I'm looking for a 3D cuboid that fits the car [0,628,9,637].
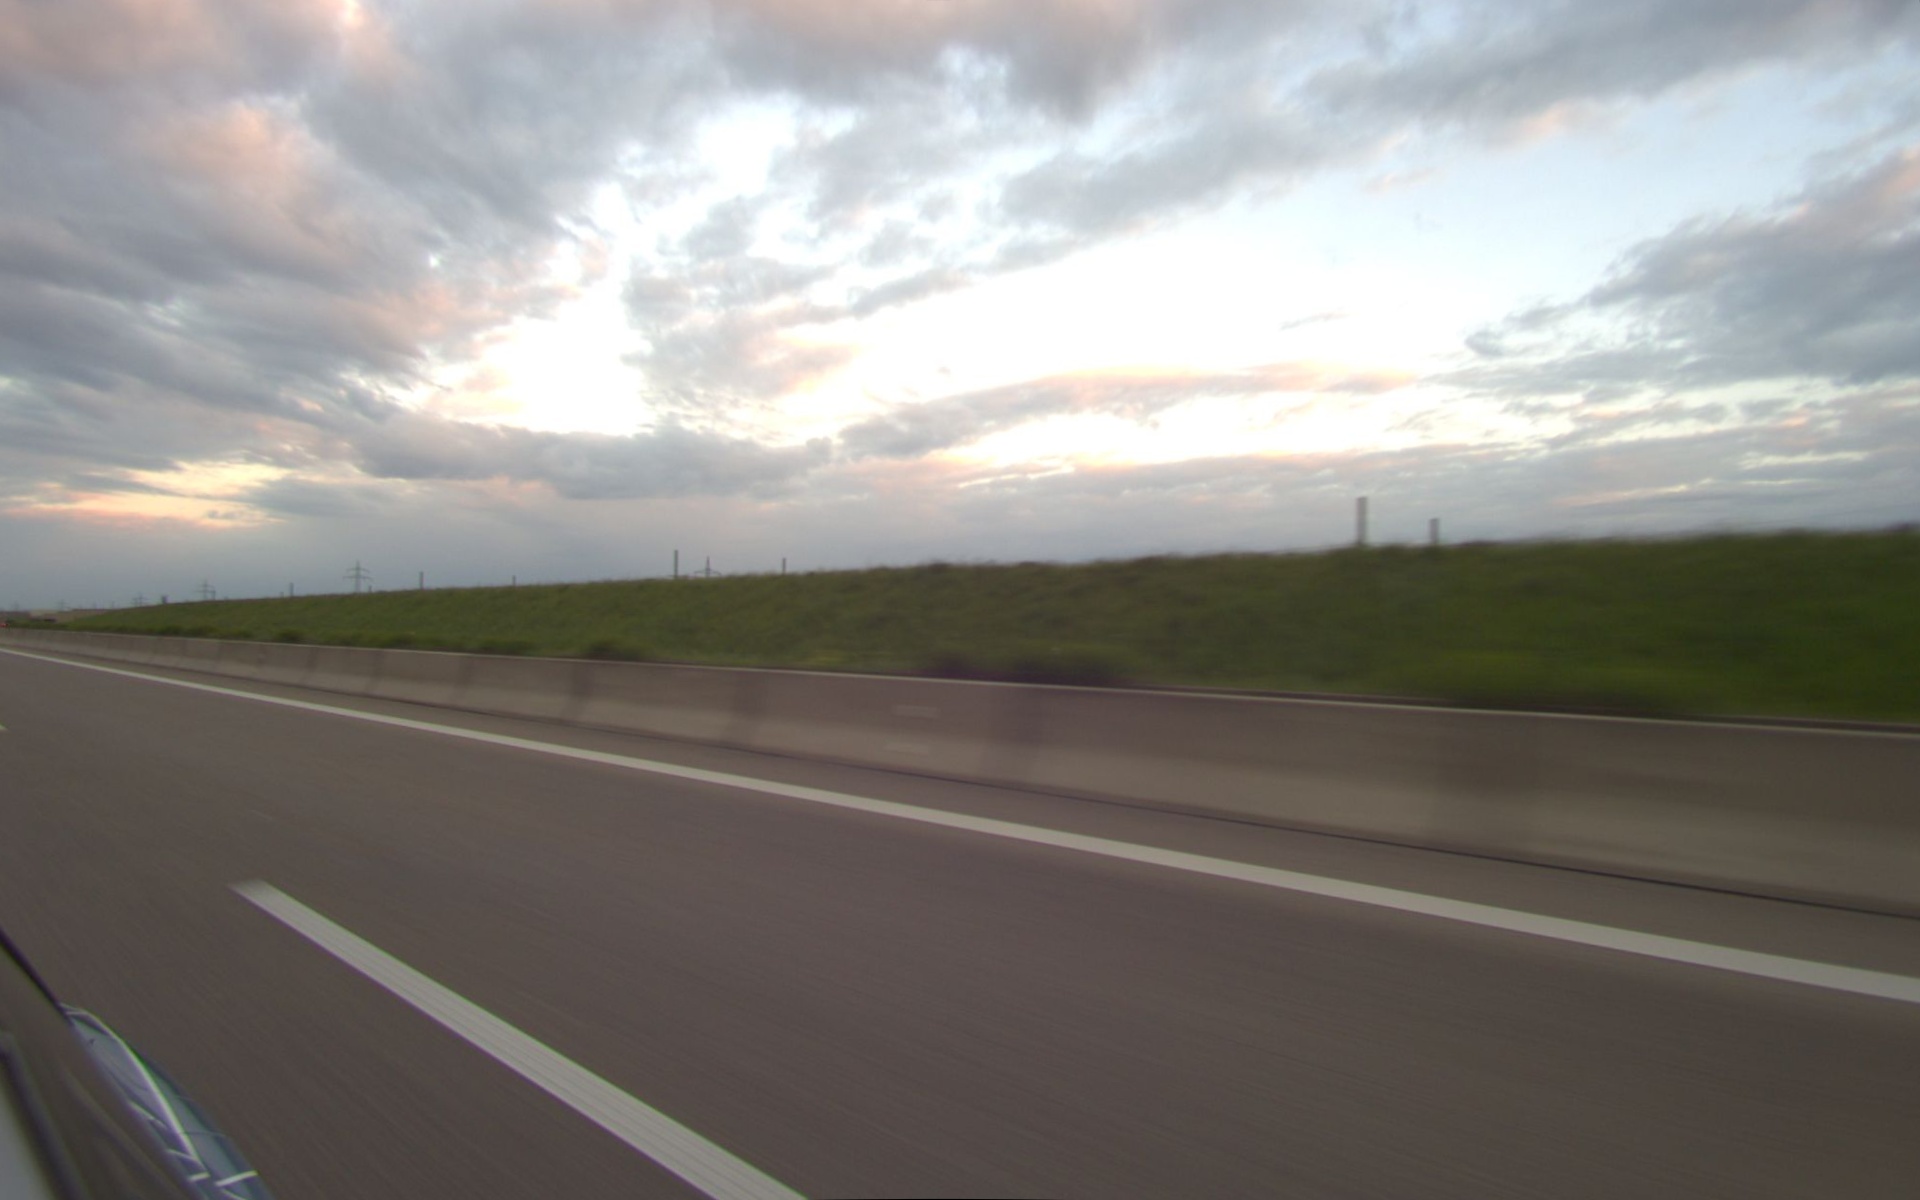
[{"bbox_3d":[-176.580,5.959,186.474,3.596,1.685,1.716,-2,-2,42],"label":"car"}]
